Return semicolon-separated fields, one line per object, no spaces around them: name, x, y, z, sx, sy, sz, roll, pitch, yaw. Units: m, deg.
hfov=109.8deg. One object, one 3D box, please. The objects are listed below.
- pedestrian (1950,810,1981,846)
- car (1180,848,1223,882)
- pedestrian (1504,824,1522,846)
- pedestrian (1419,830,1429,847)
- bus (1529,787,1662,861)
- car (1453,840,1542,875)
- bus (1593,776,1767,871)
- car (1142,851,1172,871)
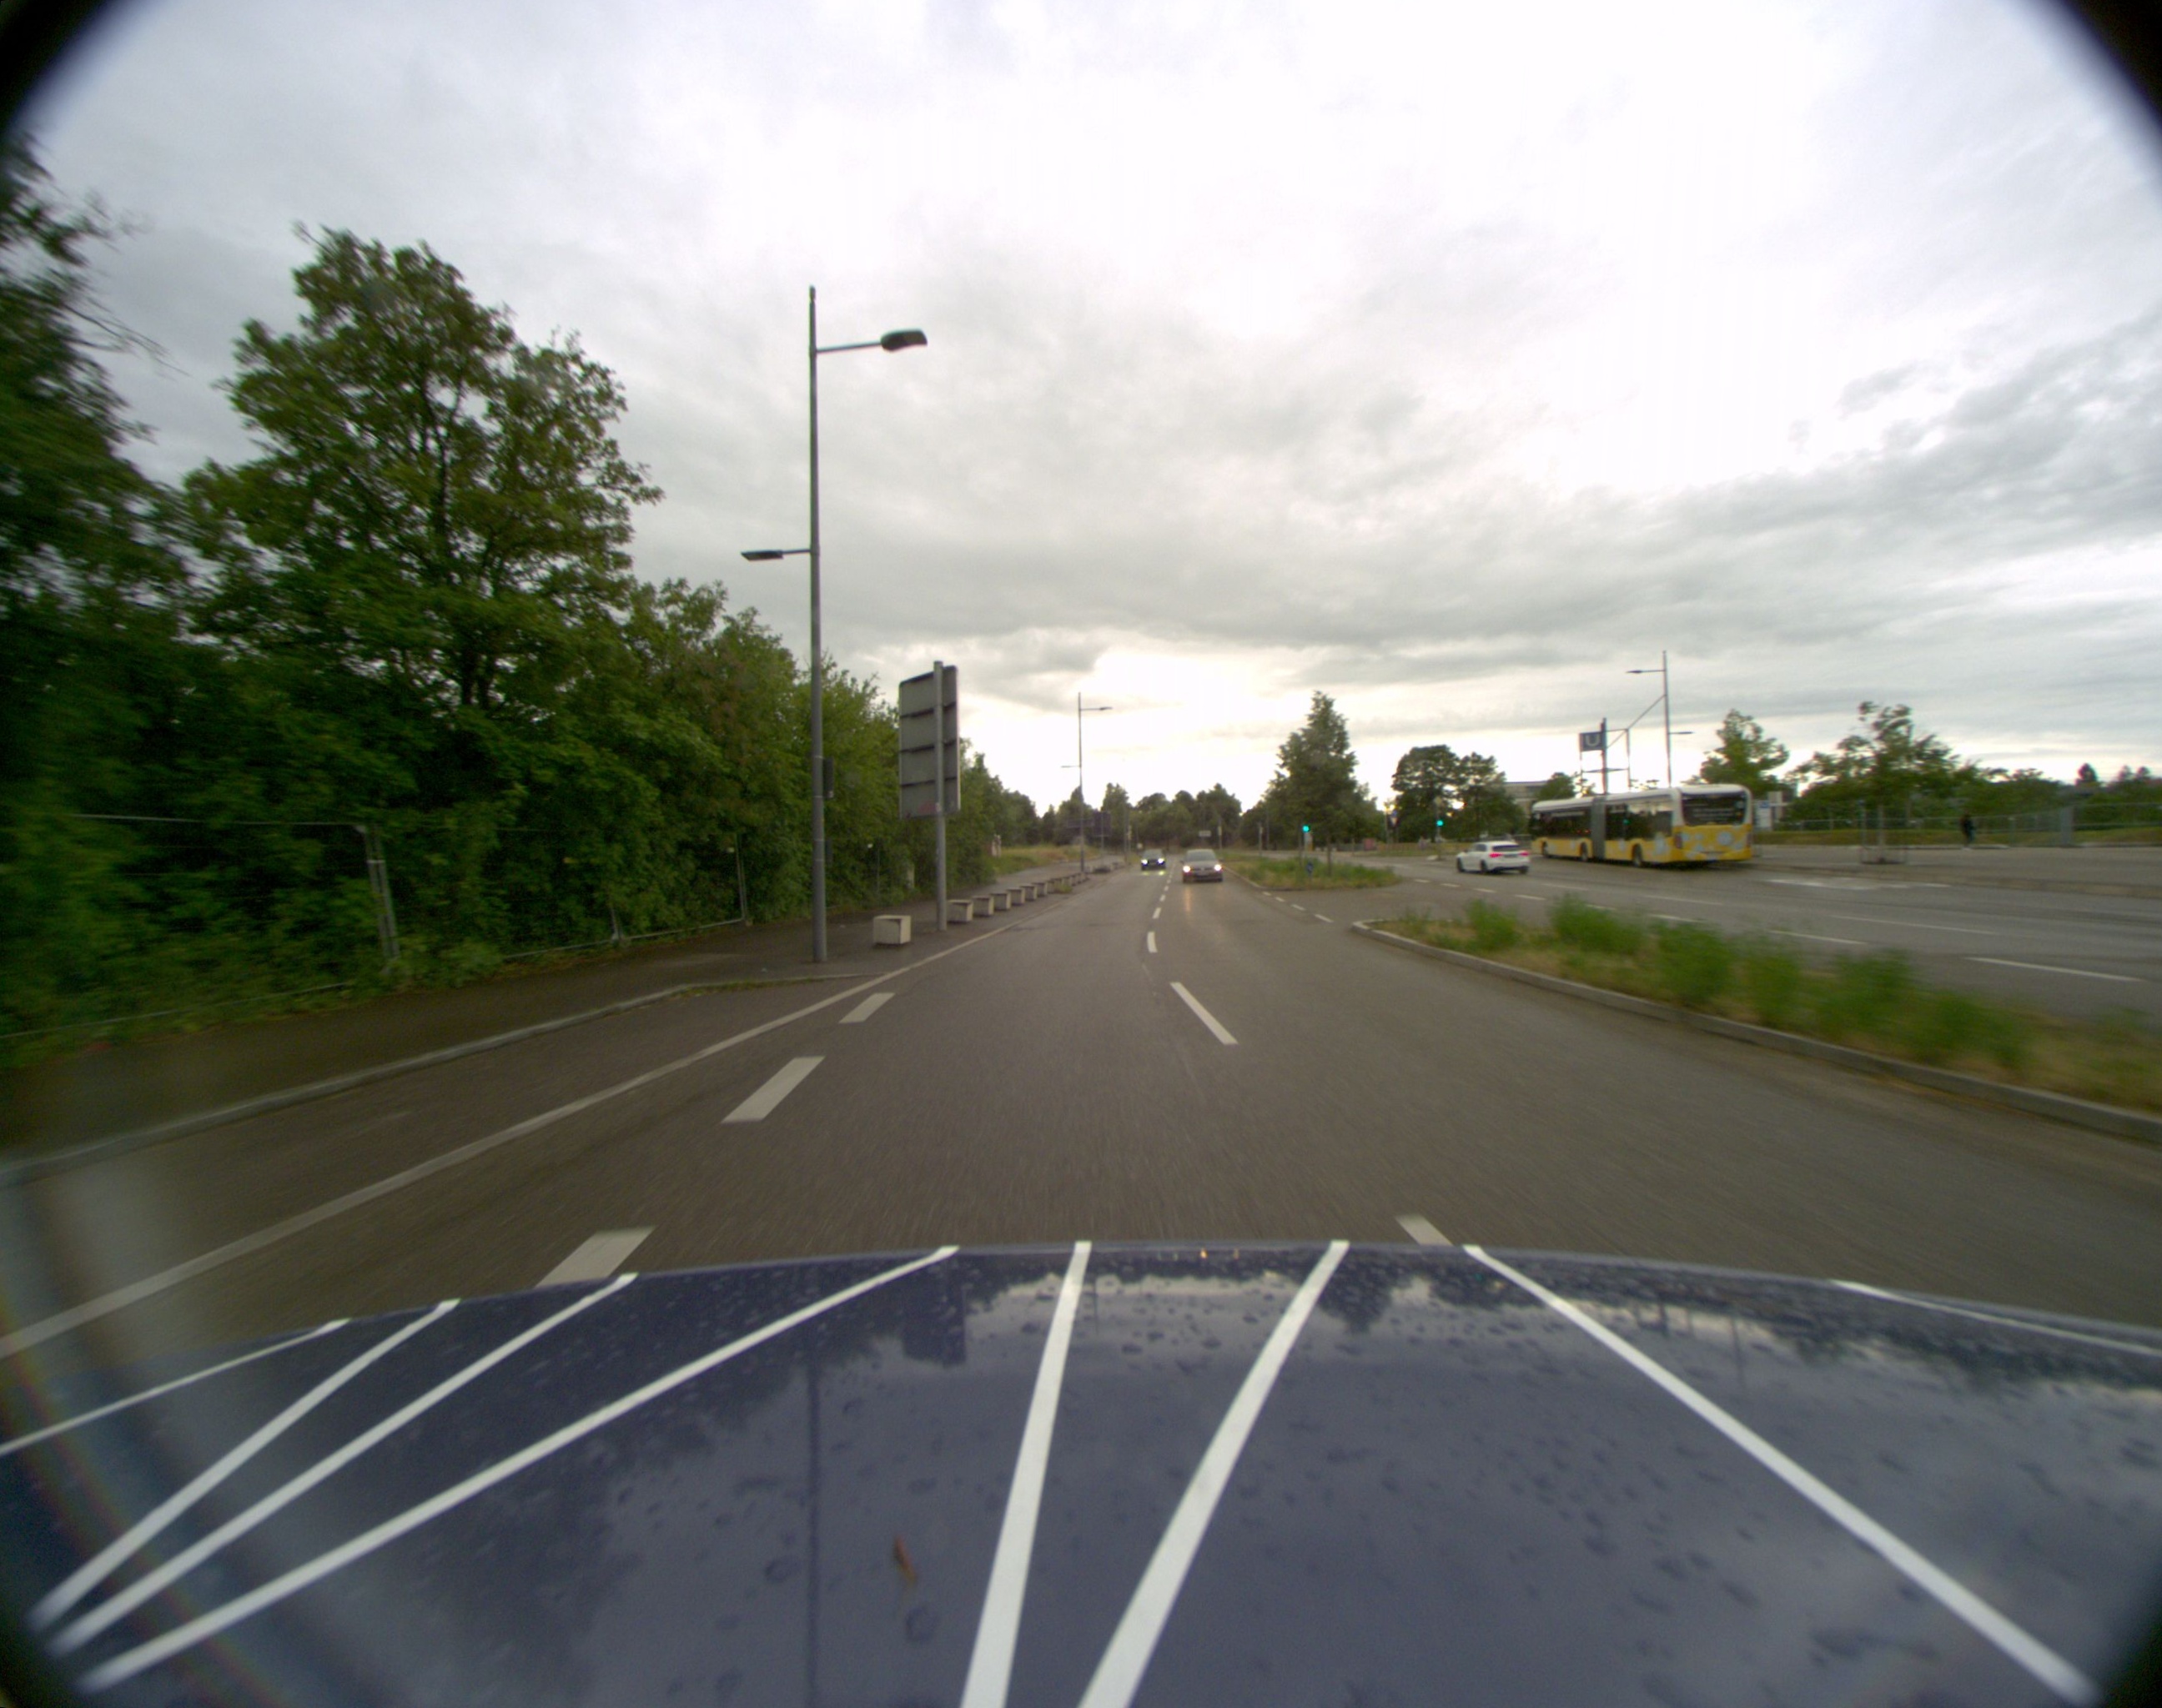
pedestrian;39.017;-1.130;33.517;0.490;1.520;0.665;-2;-1;2
car;5.511;0.475;35.085;1.809;1.421;4.199;-2;0;7
pedestrian;32.236;-1.401;56.690;0.822;1.584;0.673;-2;-1;-6
pedestrian;34.058;-1.542;75.371;0.615;1.584;0.813;-2;-1;3
bus;27.908;-1.641;41.864;2.825;3.453;9.982;-3;1;15
car;18.630;0.094;34.252;1.997;1.410;4.515;-2;1;8
bus;25.532;-1.304;32.981;2.825;3.453;8.238;-3;1;15
car;5.624;0.536;56.849;1.989;1.391;4.178;-2;-1;3
